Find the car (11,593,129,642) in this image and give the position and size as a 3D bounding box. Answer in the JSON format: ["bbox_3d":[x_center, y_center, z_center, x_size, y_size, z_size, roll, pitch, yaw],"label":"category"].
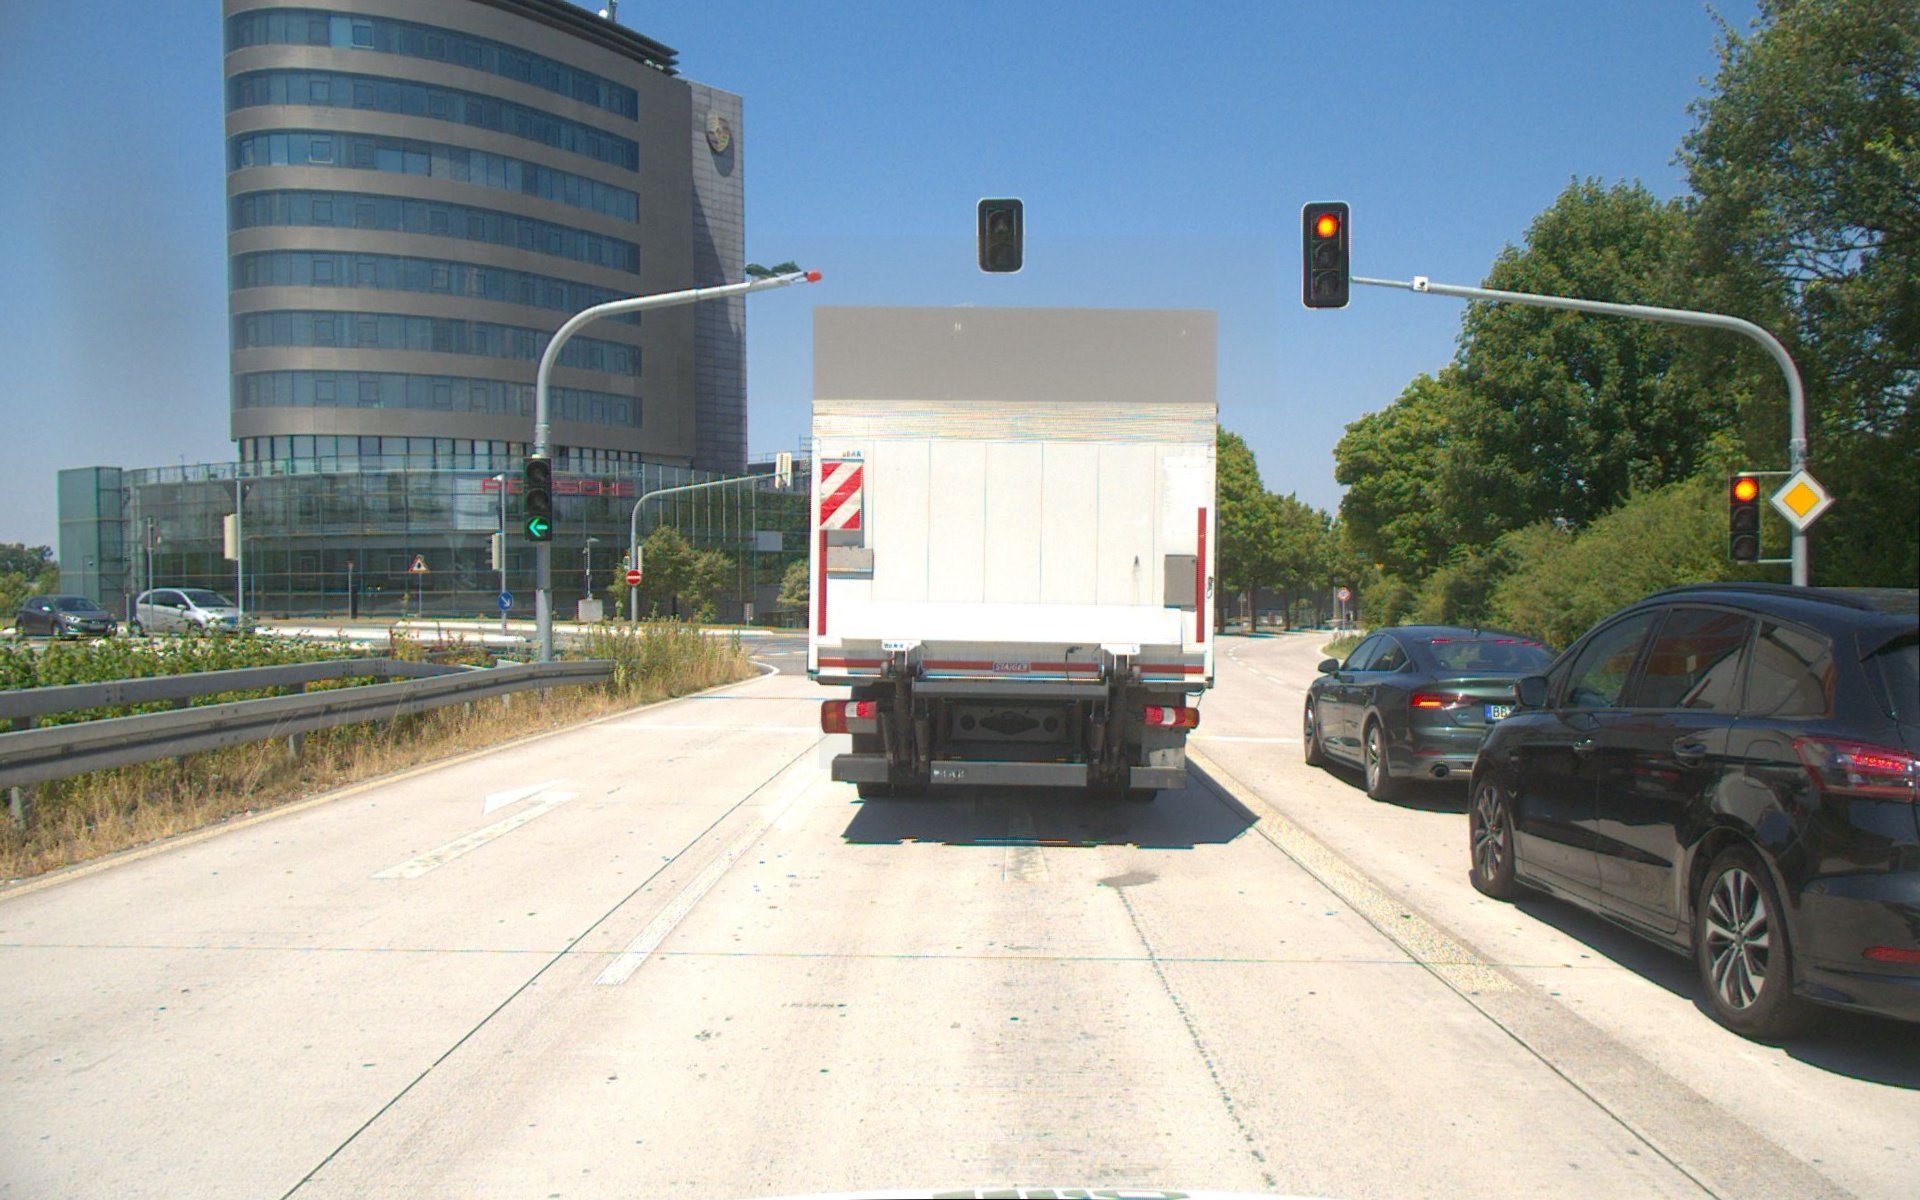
[{"bbox_3d":[-29.024,0.588,53.911,4.241,1.482,1.691,-2,-2,35],"label":"car"}]

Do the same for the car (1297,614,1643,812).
[{"bbox_3d":[4.249,0.855,14.564,1.731,1.435,4.610,1,-1,2],"label":"car"}]

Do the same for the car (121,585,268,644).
[{"bbox_3d":[-22.909,0.461,49.475,4.231,1.623,1.775,-2,-2,27],"label":"car"}]

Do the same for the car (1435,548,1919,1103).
[{"bbox_3d":[3.682,0.712,7.325,1.747,1.668,4.646,1,-1,-1],"label":"car"}]

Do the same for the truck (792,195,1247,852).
[{"bbox_3d":[0.409,-0.424,14.622,2.712,3.927,9.370,0,-1,1],"label":"truck"}]

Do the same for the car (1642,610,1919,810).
[{"bbox_3d":[7.705,0.876,14.632,1.732,1.536,3.649,1,-1,-2],"label":"car"}]
